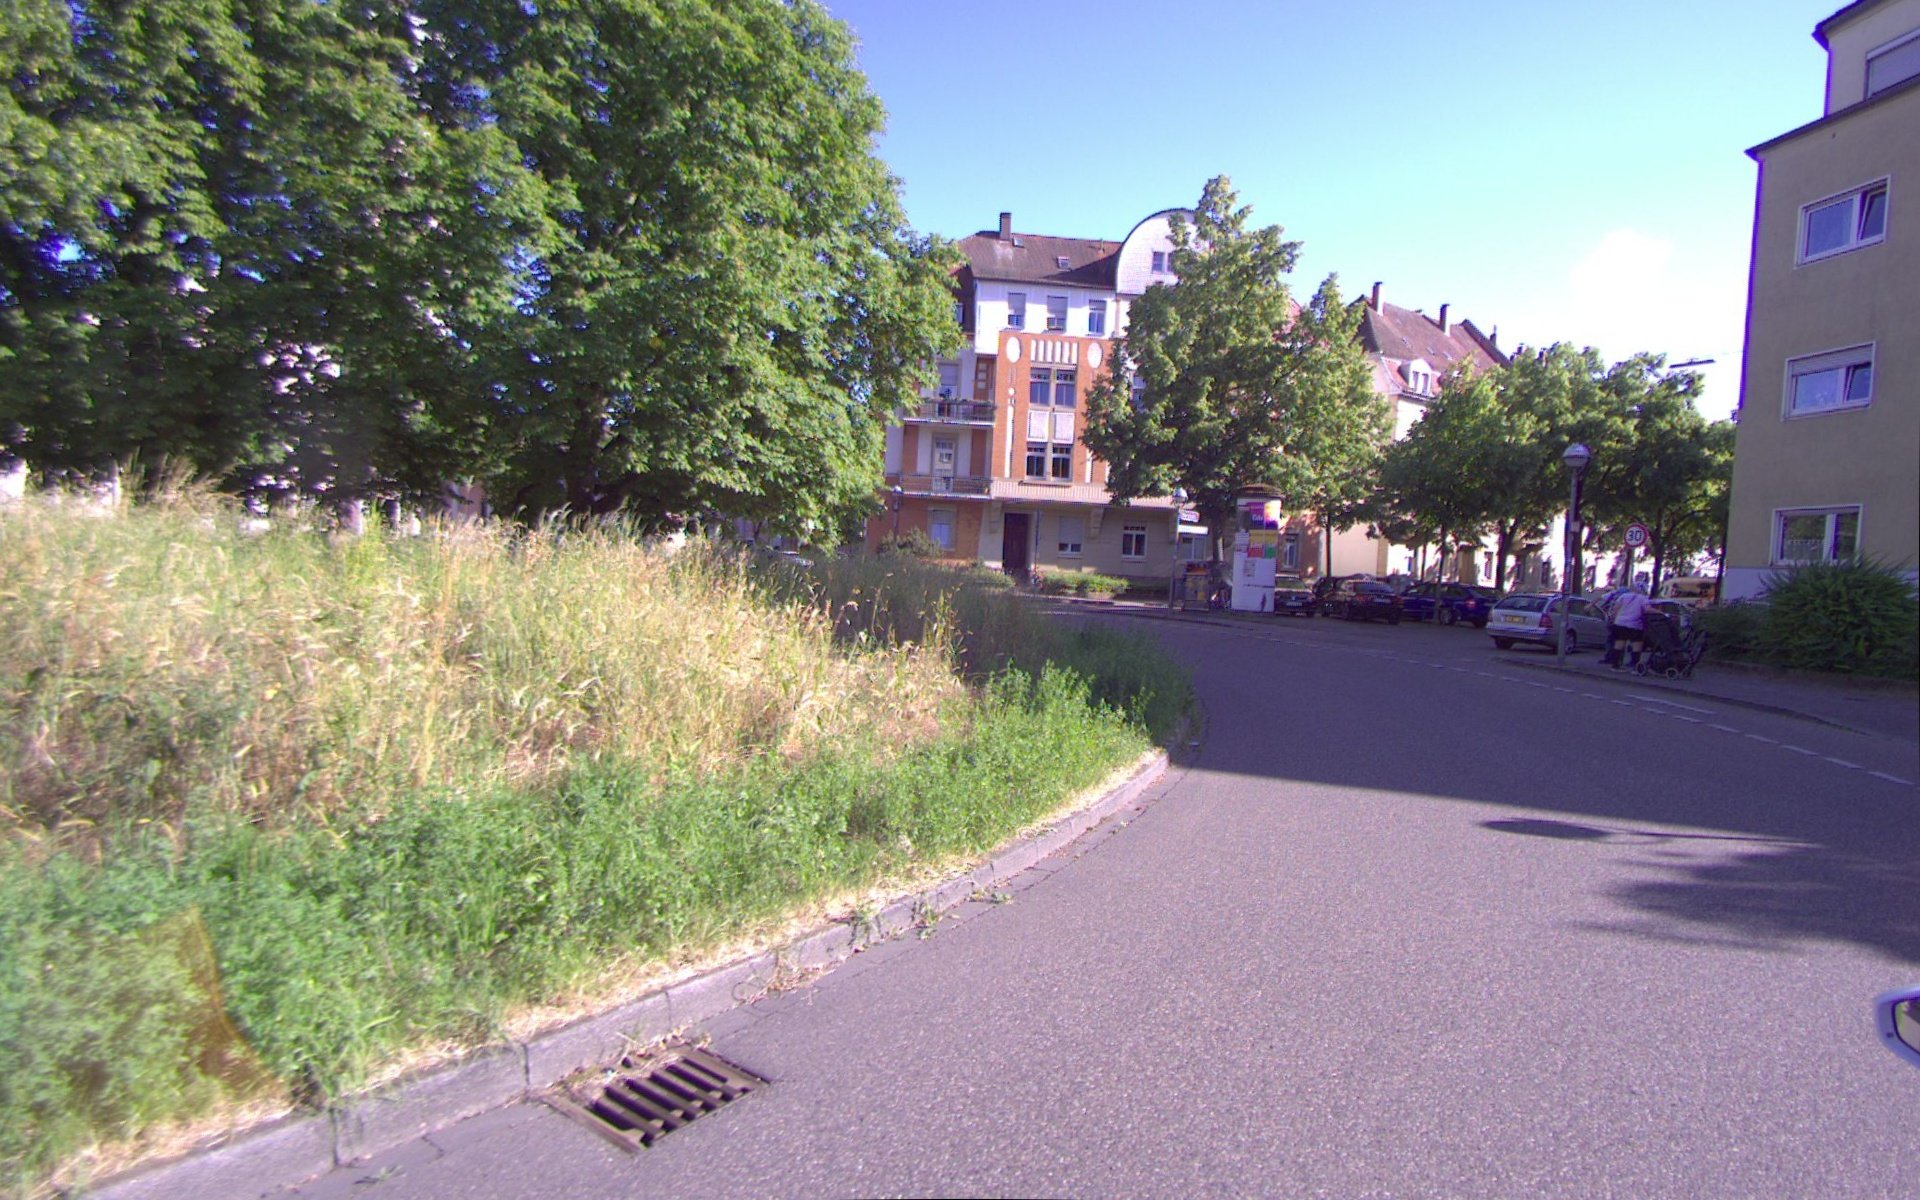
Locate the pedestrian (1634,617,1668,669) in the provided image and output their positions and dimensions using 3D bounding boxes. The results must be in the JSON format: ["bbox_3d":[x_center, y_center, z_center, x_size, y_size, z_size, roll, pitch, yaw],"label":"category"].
[{"bbox_3d":[12.628,0.777,18.359,0.448,0.887,0.430,4,2,36],"label":"pedestrian"}]

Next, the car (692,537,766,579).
[{"bbox_3d":[-12.437,-2.275,53.994,3.943,2.041,1.989,5,3,43],"label":"car"}]

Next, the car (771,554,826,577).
[{"bbox_3d":[-11.919,-2.552,73.840,3.936,1.500,1.737,5,3,37],"label":"car"}]

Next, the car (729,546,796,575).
[{"bbox_3d":[-11.846,-2.360,60.038,3.936,1.500,1.737,5,3,37],"label":"car"}]

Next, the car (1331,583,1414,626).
[{"bbox_3d":[14.121,0.104,34.601,1.674,1.302,4.260,3,2,10],"label":"car"}]

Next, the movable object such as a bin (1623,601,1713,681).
[{"bbox_3d":[11.454,0.653,16.283,0.755,1.212,0.843,3,2,-8],"label":"movable object such as a bin"}]

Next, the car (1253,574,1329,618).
[{"bbox_3d":[11.839,-0.181,36.171,1.959,1.418,4.002,3,2,10],"label":"car"}]

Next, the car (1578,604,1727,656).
[{"bbox_3d":[19.248,0.841,27.888,3.956,1.228,1.982,2,2,-33],"label":"car"}]

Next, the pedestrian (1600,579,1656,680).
[{"bbox_3d":[11.346,0.485,17.070,0.653,1.637,0.695,4,2,30],"label":"pedestrian"}]

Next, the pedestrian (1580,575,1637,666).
[{"bbox_3d":[12.288,0.375,19.055,0.733,1.637,0.757,4,2,28],"label":"pedestrian"}]

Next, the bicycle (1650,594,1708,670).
[{"bbox_3d":[14.250,0.595,19.948,0.742,1.370,2.429,4,2,33],"label":"bicycle"}]

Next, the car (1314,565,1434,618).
[{"bbox_3d":[16.633,-0.359,40.522,1.981,1.906,3.959,1,2,-36],"label":"car"}]

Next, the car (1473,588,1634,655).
[{"bbox_3d":[14.866,0.548,25.117,3.958,1.463,1.879,2,2,-33],"label":"car"}]

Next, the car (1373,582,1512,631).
[{"bbox_3d":[16.902,0.179,35.430,1.687,1.444,4.228,2,2,-27],"label":"car"}]

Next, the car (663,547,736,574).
[{"bbox_3d":[-13.337,-2.027,51.356,3.943,1.194,1.759,5,3,43],"label":"car"}]
